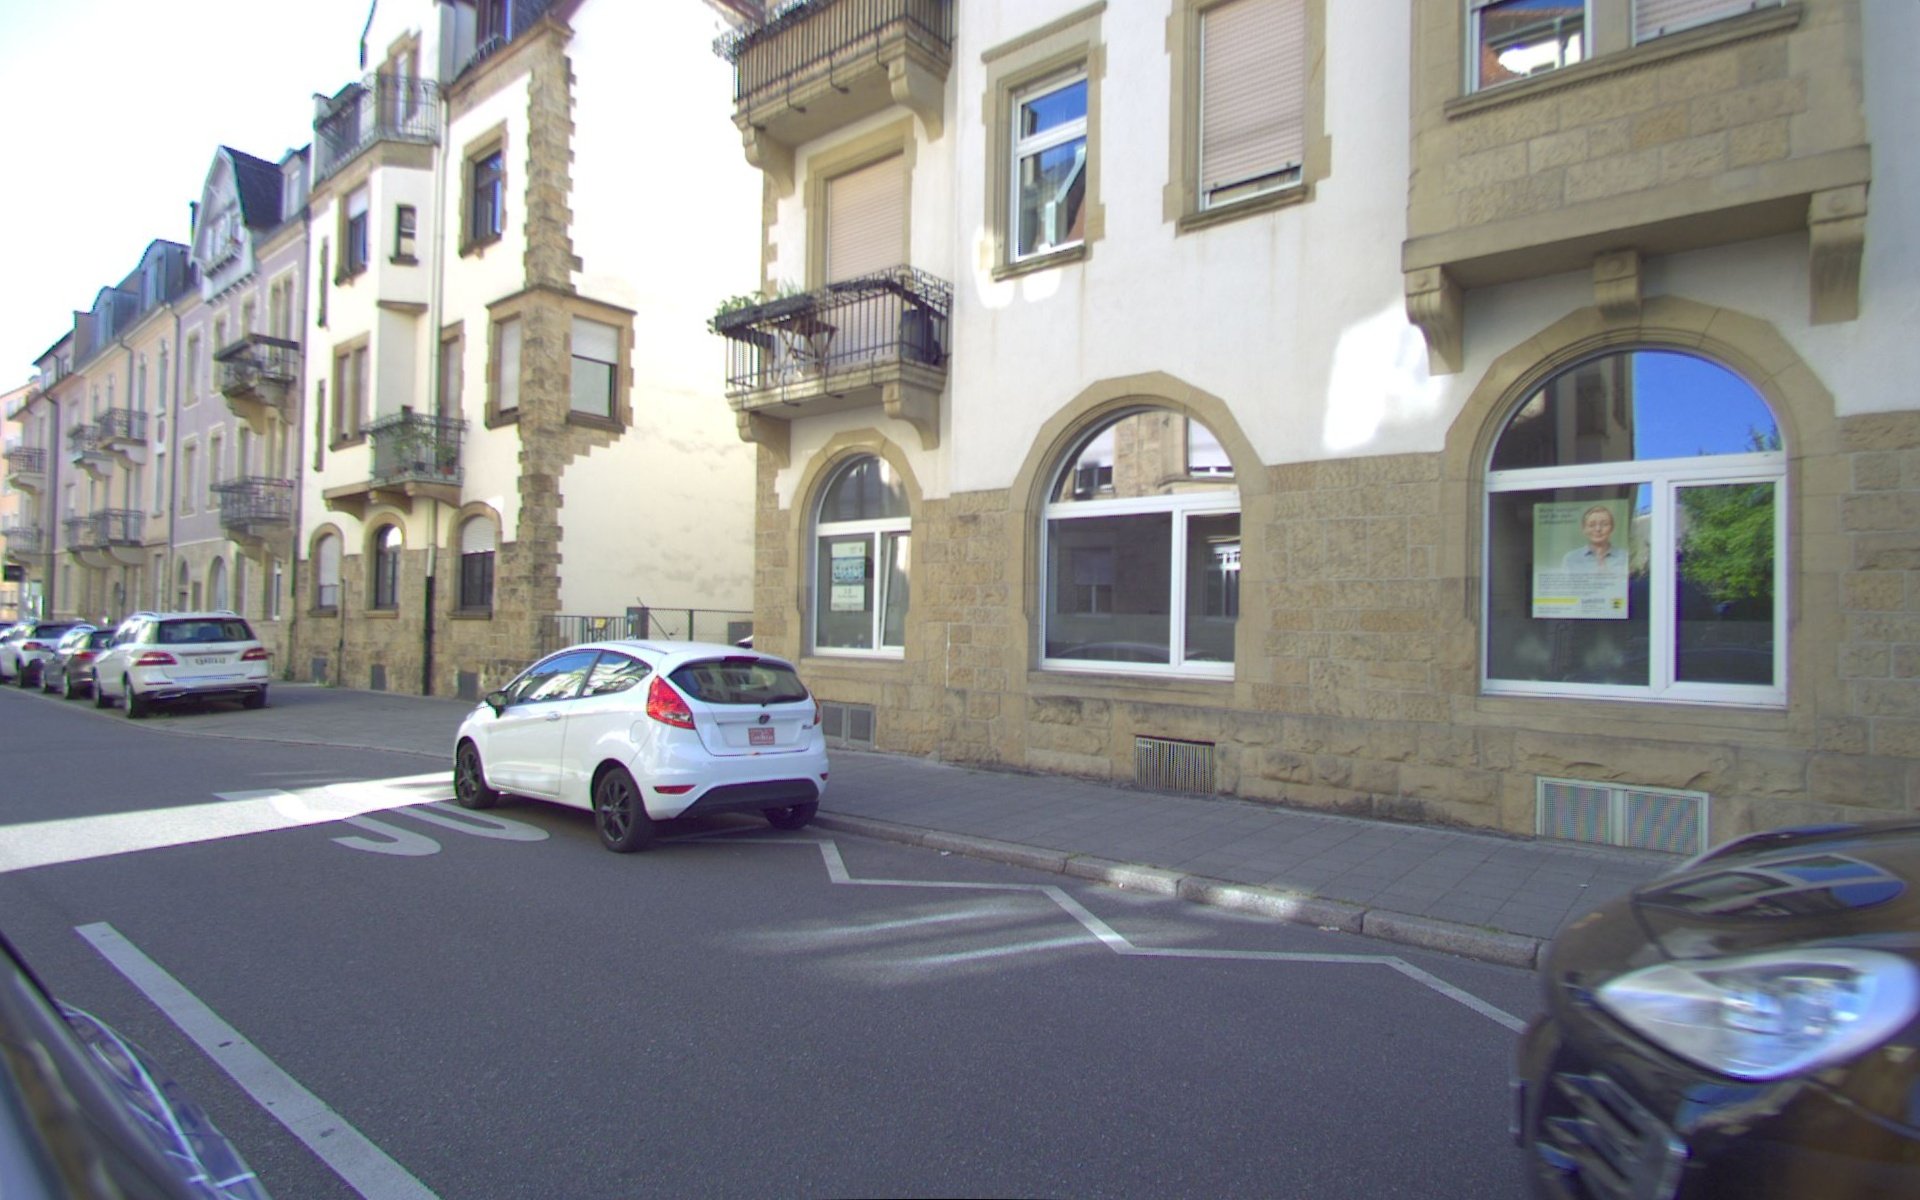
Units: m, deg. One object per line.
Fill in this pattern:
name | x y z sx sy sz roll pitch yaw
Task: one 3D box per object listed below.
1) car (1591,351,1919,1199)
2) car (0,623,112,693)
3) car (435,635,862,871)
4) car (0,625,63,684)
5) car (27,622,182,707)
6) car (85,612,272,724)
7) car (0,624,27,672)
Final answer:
car | 3.310 0.641 0.803 4.698 1.707 2.055 0 -4 35
car | -22.946 1.383 25.434 4.319 1.520 1.866 -1 0 41
car | -2.637 1.046 8.178 3.642 1.469 1.634 -2 -5 42
car | -27.155 1.516 28.873 4.317 1.511 1.833 -1 0 41
car | -18.443 1.290 21.752 4.319 1.519 1.866 -1 2 41
car | -13.984 1.100 18.026 4.209 1.740 1.866 -1 0 41
car | -33.138 1.607 34.222 4.319 1.520 1.866 -1 0 41
